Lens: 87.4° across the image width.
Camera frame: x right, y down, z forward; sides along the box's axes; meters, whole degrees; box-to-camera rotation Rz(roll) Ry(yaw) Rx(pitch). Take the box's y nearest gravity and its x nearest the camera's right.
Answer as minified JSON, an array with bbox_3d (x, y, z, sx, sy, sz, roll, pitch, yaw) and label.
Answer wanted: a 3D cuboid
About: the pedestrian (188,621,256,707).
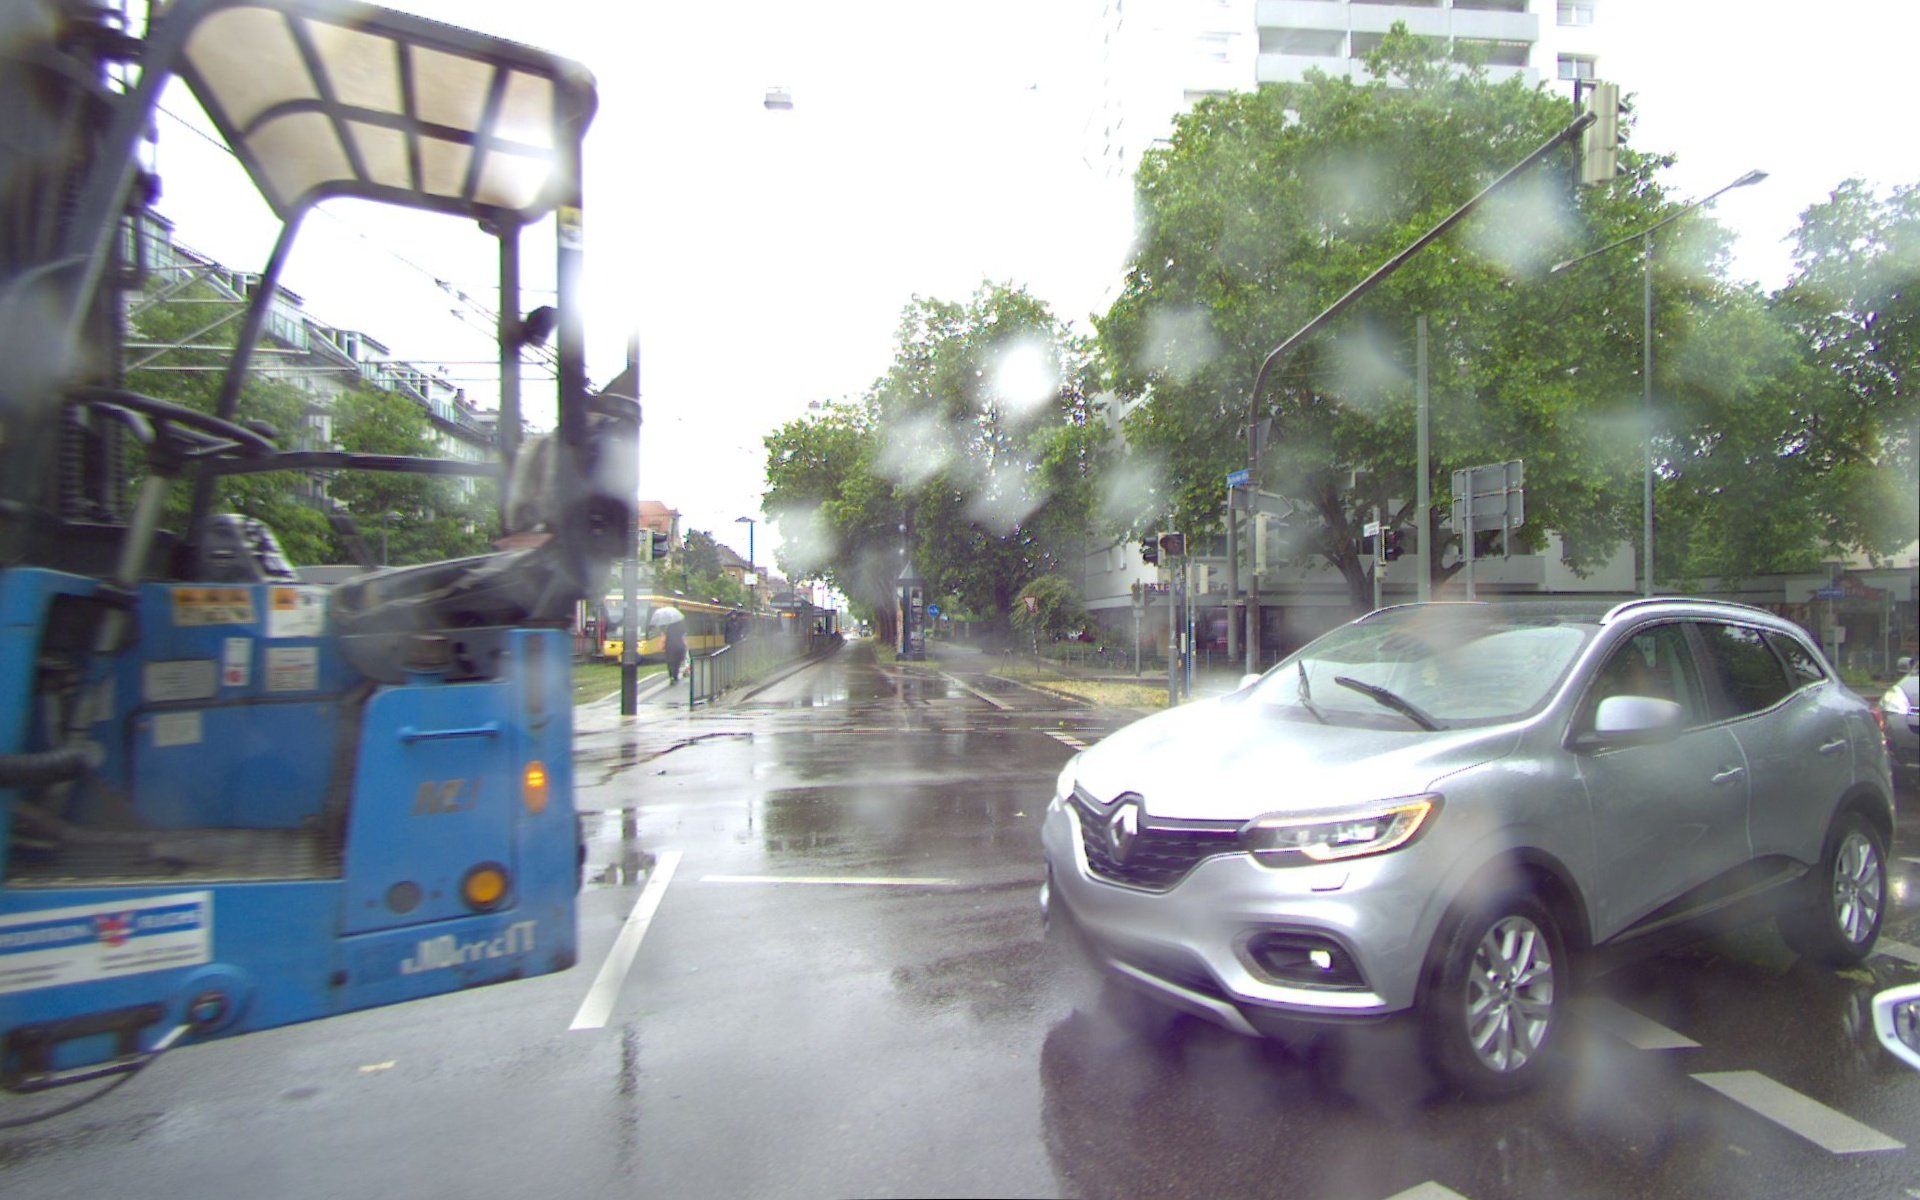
[{"bbox_3d":[-14.870,1.282,20.259,0.822,1.670,0.755,0,-2,-9],"label":"pedestrian"}]

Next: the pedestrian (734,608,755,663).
[{"bbox_3d":[-7.422,1.224,34.563,0.628,1.862,0.679,-1,-2,-6],"label":"pedestrian"}]

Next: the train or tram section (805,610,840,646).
[{"bbox_3d":[-14.189,2.927,104.341,3.014,3.550,11.570,0,-2,-5],"label":"train or tram section"}]

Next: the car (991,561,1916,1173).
[{"bbox_3d":[2.266,0.755,4.423,3.952,1.625,1.735,1,-2,-29],"label":"car"}]

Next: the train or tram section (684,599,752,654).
[{"bbox_3d":[-16.863,1.873,70.744,3.014,3.550,11.570,0,-2,-5],"label":"train or tram section"}]

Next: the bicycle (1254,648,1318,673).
[{"bbox_3d":[12.358,2.290,38.119,2.271,0.881,0.639,0,0,18],"label":"bicycle"}]

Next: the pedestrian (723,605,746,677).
[{"bbox_3d":[-6.762,1.226,30.143,0.625,2.105,0.701,0,-1,-10],"label":"pedestrian"}]

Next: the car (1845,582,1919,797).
[{"bbox_3d":[10.376,0.799,9.478,4.060,1.886,1.799,1,-2,-29],"label":"car"}]

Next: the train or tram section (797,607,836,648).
[{"bbox_3d":[-13.140,2.545,92.802,3.014,3.550,11.570,0,-2,-5],"label":"train or tram section"}]

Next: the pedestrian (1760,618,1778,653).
[{"bbox_3d":[38.196,1.676,47.412,0.637,1.650,0.564,1,-2,-44],"label":"pedestrian"}]

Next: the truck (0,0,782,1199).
[{"bbox_3d":[-5.376,-0.700,0.333,10.203,4.078,2.830,1,-2,-33],"label":"truck"}]

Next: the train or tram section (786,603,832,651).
[{"bbox_3d":[-12.104,2.215,81.283,3.014,3.550,11.570,0,-2,-5],"label":"train or tram section"}]

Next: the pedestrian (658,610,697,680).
[{"bbox_3d":[-6.891,1.102,24.514,0.779,1.670,0.816,-1,-2,-6],"label":"pedestrian"}]

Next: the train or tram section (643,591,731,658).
[{"bbox_3d":[-15.816,1.480,59.188,3.014,3.550,11.570,0,-2,-5],"label":"train or tram section"}]

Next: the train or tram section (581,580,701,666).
[{"bbox_3d":[-14.773,1.137,47.681,3.014,3.550,11.570,0,-2,-5],"label":"train or tram section"}]

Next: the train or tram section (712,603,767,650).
[{"bbox_3d":[-17.898,2.208,82.287,3.014,3.550,11.570,0,-2,-5],"label":"train or tram section"}]
